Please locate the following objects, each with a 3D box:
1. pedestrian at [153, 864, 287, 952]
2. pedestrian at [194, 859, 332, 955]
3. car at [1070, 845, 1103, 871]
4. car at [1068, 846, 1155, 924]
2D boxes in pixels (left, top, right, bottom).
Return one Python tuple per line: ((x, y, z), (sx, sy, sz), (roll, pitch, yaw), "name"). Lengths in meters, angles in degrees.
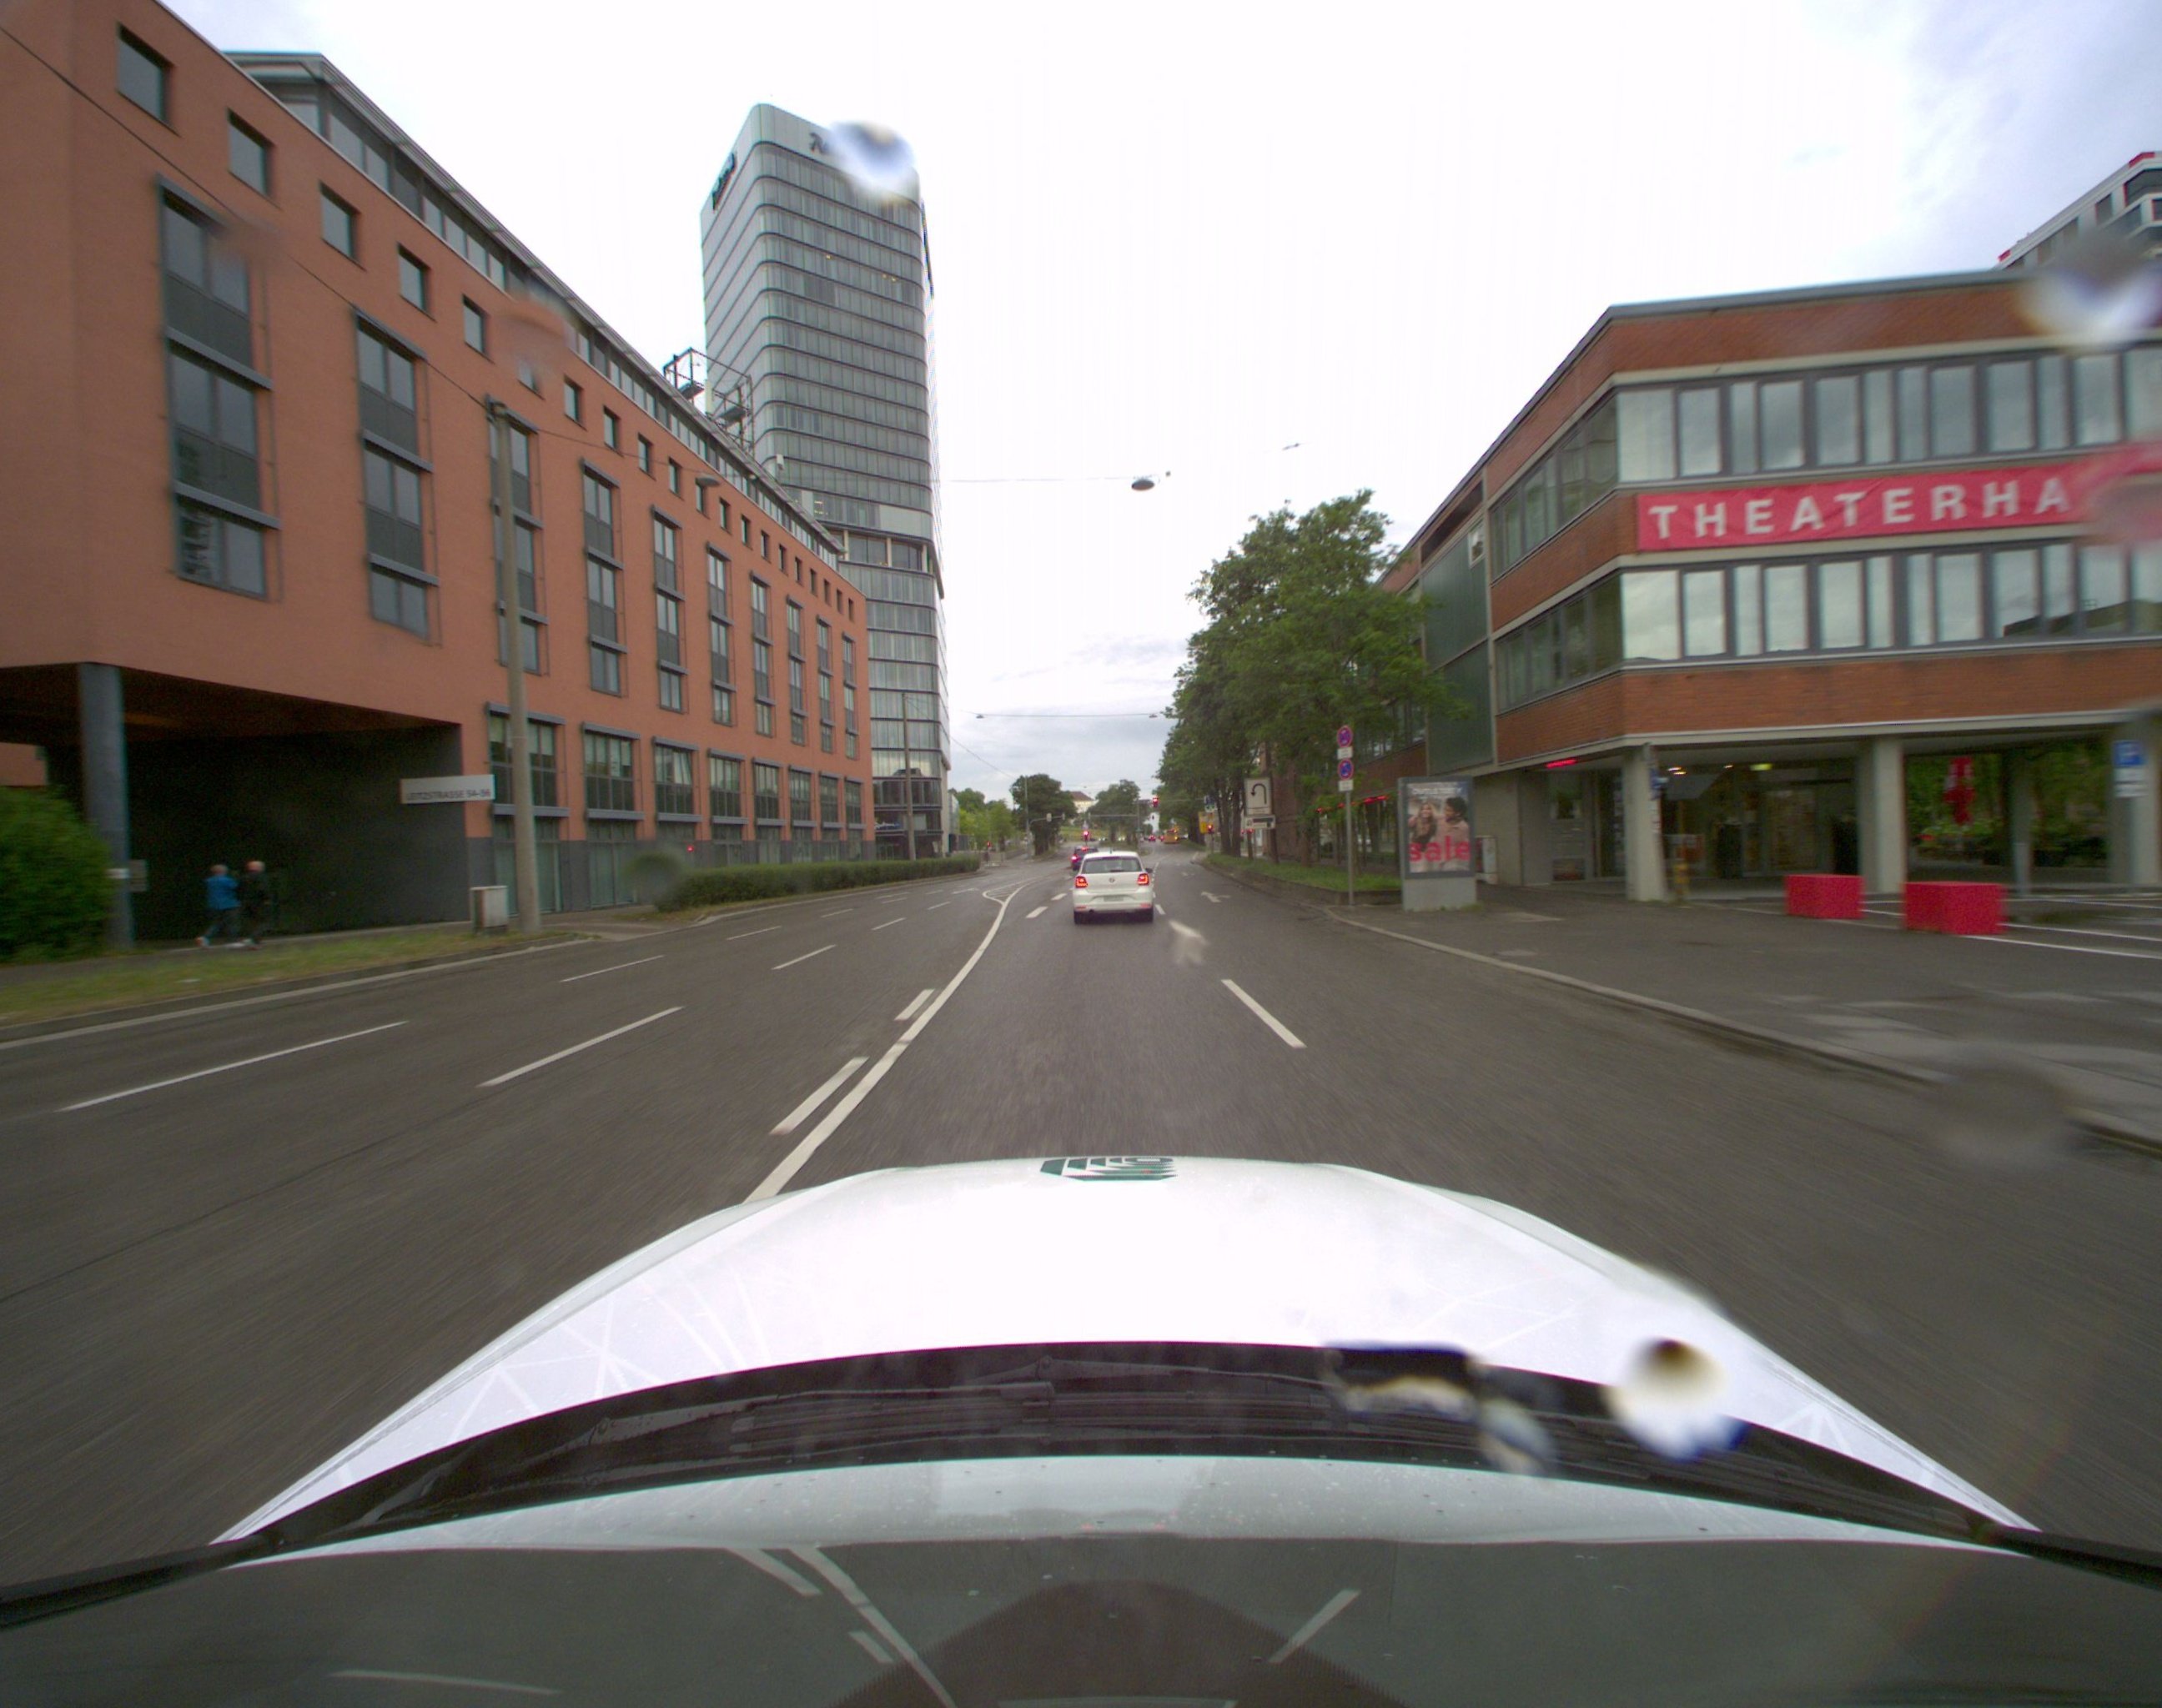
((-18.034, 1.103, 17.110), (1.200, 1.679, 1.421), (-5, -2, 5), "pedestrian")
((-16.998, 1.078, 16.977), (1.309, 1.823, 1.441), (-5, -2, 5), "pedestrian")
((0.388, 0.246, 55.633), (1.985, 1.574, 4.004), (-2, 0, 3), "car")
((0.660, 0.597, 17.978), (1.665, 1.474, 3.781), (-2, 0, 2), "car")
